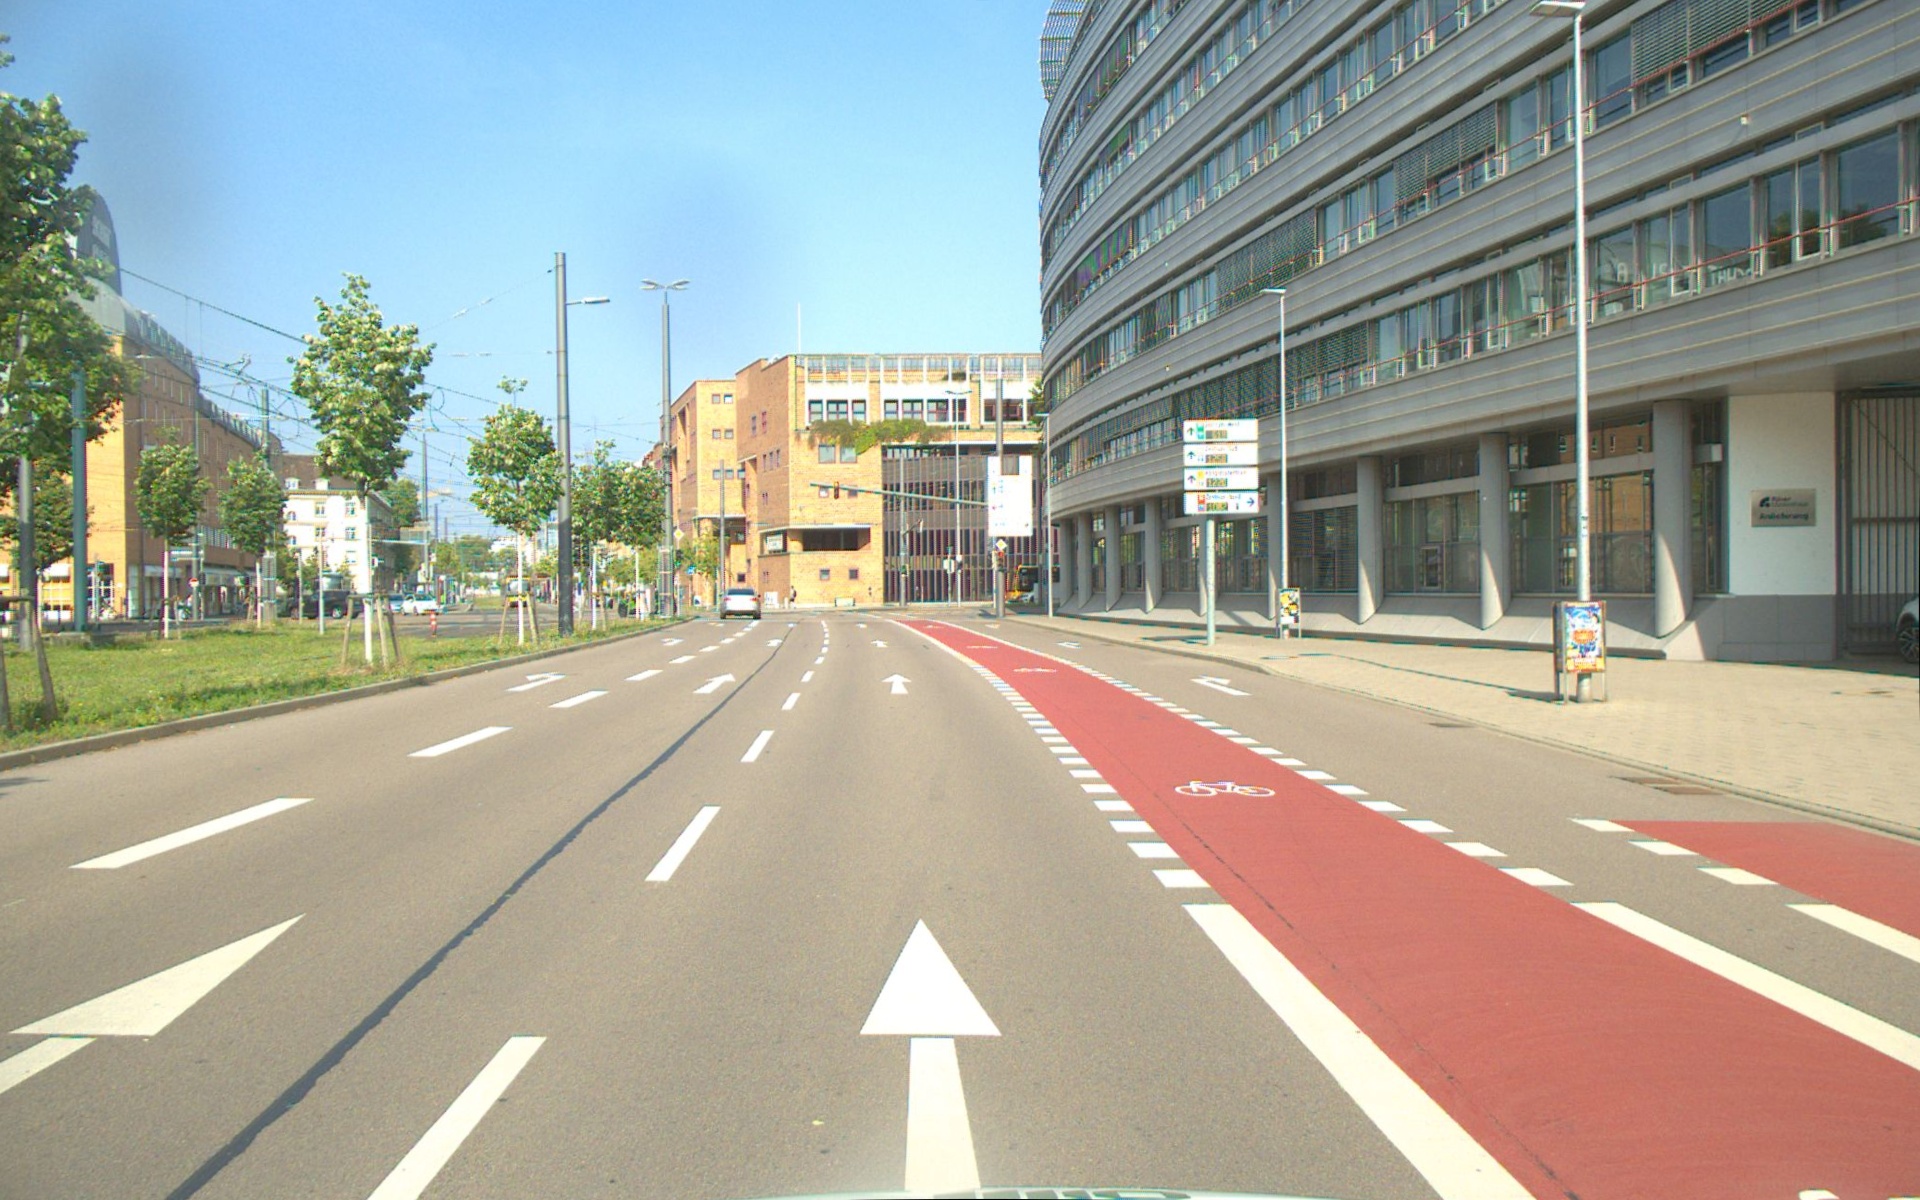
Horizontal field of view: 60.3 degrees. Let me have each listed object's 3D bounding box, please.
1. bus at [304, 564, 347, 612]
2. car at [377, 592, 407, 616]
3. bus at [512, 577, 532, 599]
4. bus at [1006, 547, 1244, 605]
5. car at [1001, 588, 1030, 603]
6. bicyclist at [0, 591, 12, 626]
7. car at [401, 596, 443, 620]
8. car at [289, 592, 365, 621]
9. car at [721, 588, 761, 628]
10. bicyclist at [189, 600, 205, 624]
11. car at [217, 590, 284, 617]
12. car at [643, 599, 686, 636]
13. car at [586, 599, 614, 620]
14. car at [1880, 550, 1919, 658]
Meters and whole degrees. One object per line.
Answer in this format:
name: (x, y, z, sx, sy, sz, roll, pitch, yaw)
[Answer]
bus: (-54.768, -1.023, 143.011, 2.704, 3.989, 12.155, -1, 0, -18)
car: (-43.074, 0.287, 125.482, 1.656, 1.663, 4.377, -1, 2, -14)
bus: (-44.780, -1.202, 169.016, 1.961, 2.049, 3.982, -1, -1, -16)
bus: (12.139, -1.745, 122.227, 17.269, 3.877, 2.861, -1, -1, -6)
car: (3.942, -0.339, 117.955, 1.914, 0.975, 1.092, 1, -2, -7)
bicyclist: (-49.130, 0.428, 84.756, 0.948, 1.777, 0.664, -2, -2, 36)
car: (-37.111, 0.571, 114.066, 1.717, 1.569, 3.401, 0, -2, -38)
car: (-39.323, 0.398, 102.857, 3.904, 1.708, 2.000, -1, -1, 2)
car: (-10.135, 0.391, 76.401, 1.674, 1.786, 3.880, -1, -1, -10)
bicyclist: (-55.087, 0.853, 119.412, 0.972, 1.725, 0.666, -1, -1, -21)
car: (-46.498, 0.233, 108.373, 3.537, 1.652, 1.868, -1, 0, 1)
car: (-16.781, 1.016, 93.989, 1.954, 2.049, 4.238, -1, -1, -5)
car: (-36.149, 0.955, 166.074, 1.968, 2.049, 3.969, -1, -1, -24)
car: (15.125, 0.072, 23.911, 1.707, 1.617, 4.003, -1, 1, 5)
